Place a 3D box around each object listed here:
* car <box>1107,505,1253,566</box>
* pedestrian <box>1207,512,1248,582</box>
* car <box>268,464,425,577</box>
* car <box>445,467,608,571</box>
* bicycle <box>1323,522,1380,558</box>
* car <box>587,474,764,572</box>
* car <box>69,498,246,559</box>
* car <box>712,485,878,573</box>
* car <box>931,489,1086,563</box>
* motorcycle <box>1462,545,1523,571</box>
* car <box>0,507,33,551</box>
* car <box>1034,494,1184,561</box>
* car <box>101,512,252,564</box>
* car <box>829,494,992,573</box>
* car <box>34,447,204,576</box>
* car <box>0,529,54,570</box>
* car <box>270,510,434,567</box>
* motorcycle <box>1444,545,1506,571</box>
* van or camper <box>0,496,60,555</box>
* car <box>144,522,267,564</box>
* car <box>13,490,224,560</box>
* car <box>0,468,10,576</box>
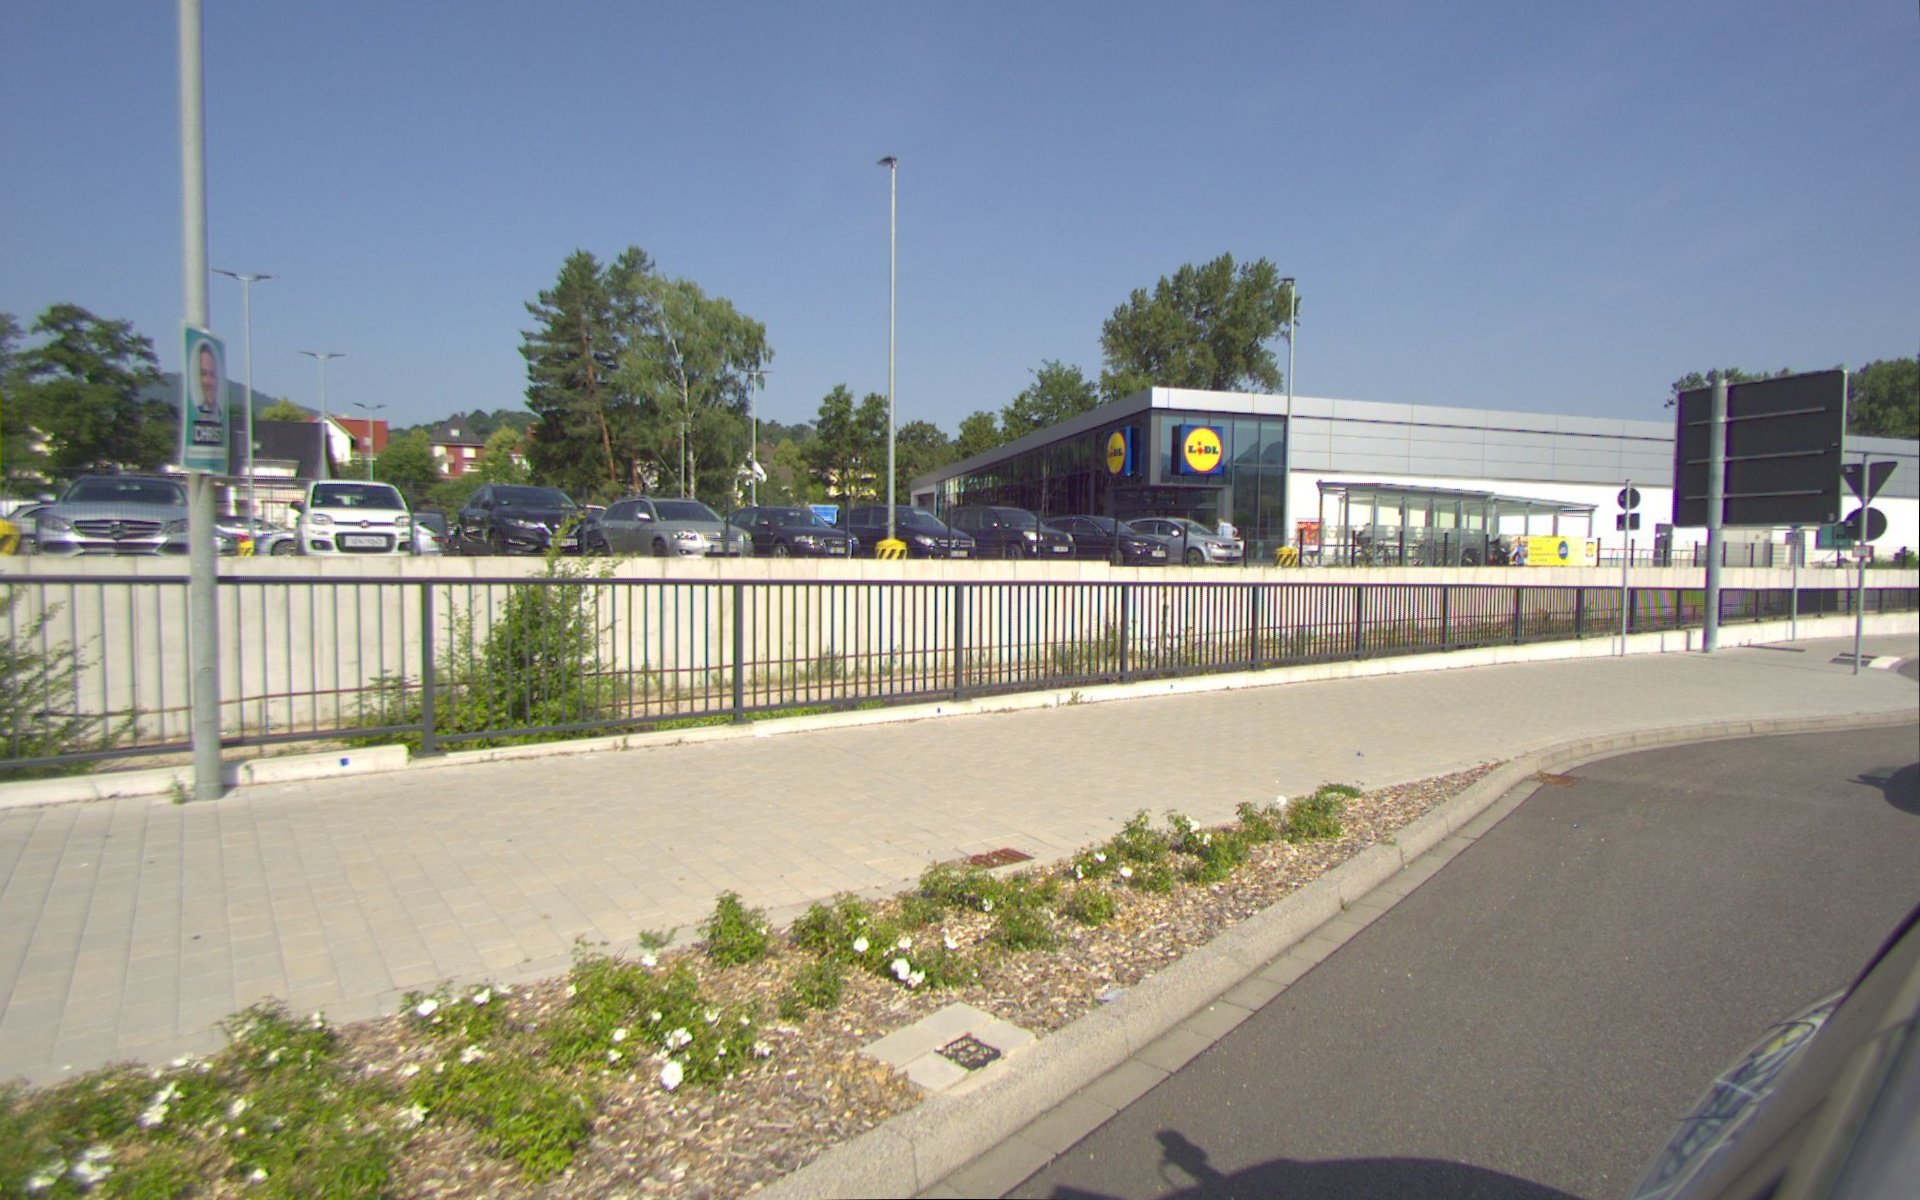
[{"bbox_3d":[6.491,-1.858,30.206,1.674,1.594,4.126,0,0,-40],"label":"car"},{"bbox_3d":[8.048,-1.578,30.425,0.845,2.039,0.834,0,0,-24],"label":"pedestrian"},{"bbox_3d":[-10.303,-1.213,16.863,1.674,1.594,3.995,0,0,-40],"label":"car"},{"bbox_3d":[-7.966,-1.364,18.404,1.674,1.594,3.995,0,0,-40],"label":"car"},{"bbox_3d":[12.965,-1.975,33.503,1.839,1.107,0.628,0,0,-23],"label":"bicycle"},{"bbox_3d":[-5.617,-1.388,19.637,1.674,1.594,4.410,0,0,-40],"label":"car"},{"bbox_3d":[-23.247,-2.038,29.478,3.708,1.594,1.669,0,0,-23],"label":"car"},{"bbox_3d":[-3.575,-1.416,21.385,1.674,1.594,3.995,0,0,-40],"label":"car"},{"bbox_3d":[1.142,-1.785,25.545,1.674,1.594,3.995,0,0,-40],"label":"car"},{"bbox_3d":[18.914,-1.467,35.947,1.865,0.874,0.619,0,0,33],"label":"motorcycle"},{"bbox_3d":[-47.736,-3.427,48.460,4.550,2.001,2.004,0,0,-23],"label":"car"},{"bbox_3d":[4.034,-1.921,27.814,1.674,1.594,3.995,0,0,-40],"label":"car"},{"bbox_3d":[-26.329,-2.050,34.152,3.708,1.594,1.766,0,0,-23],"label":"car"},{"bbox_3d":[-1.220,-1.446,23.237,1.674,1.594,3.995,0,0,-40],"label":"car"},{"bbox_3d":[-12.400,-1.185,15.136,1.746,1.594,4.020,0,0,-37],"label":"car"},{"bbox_3d":[-39.935,-2.065,41.533,3.708,1.594,1.766,0,0,-23],"label":"car"},{"bbox_3d":[-17.432,-1.729,29.253,3.918,1.476,1.803,-1,0,-26],"label":"car"},{"bbox_3d":[17.990,-1.457,35.375,1.865,0.874,0.619,0,0,33],"label":"motorcycle"},{"bbox_3d":[-50.450,-3.860,52.497,5.176,2.883,2.299,0,0,-23],"label":"van or camper"},{"bbox_3d":[-30.614,-2.282,41.187,3.708,1.594,1.766,0,0,-23],"label":"car"},{"bbox_3d":[-22.075,-1.930,26.761,3.918,1.638,2.003,-1,0,-26],"label":"car"},{"bbox_3d":[-14.439,-1.162,13.791,1.746,1.594,4.020,0,0,-37],"label":"car"}]
